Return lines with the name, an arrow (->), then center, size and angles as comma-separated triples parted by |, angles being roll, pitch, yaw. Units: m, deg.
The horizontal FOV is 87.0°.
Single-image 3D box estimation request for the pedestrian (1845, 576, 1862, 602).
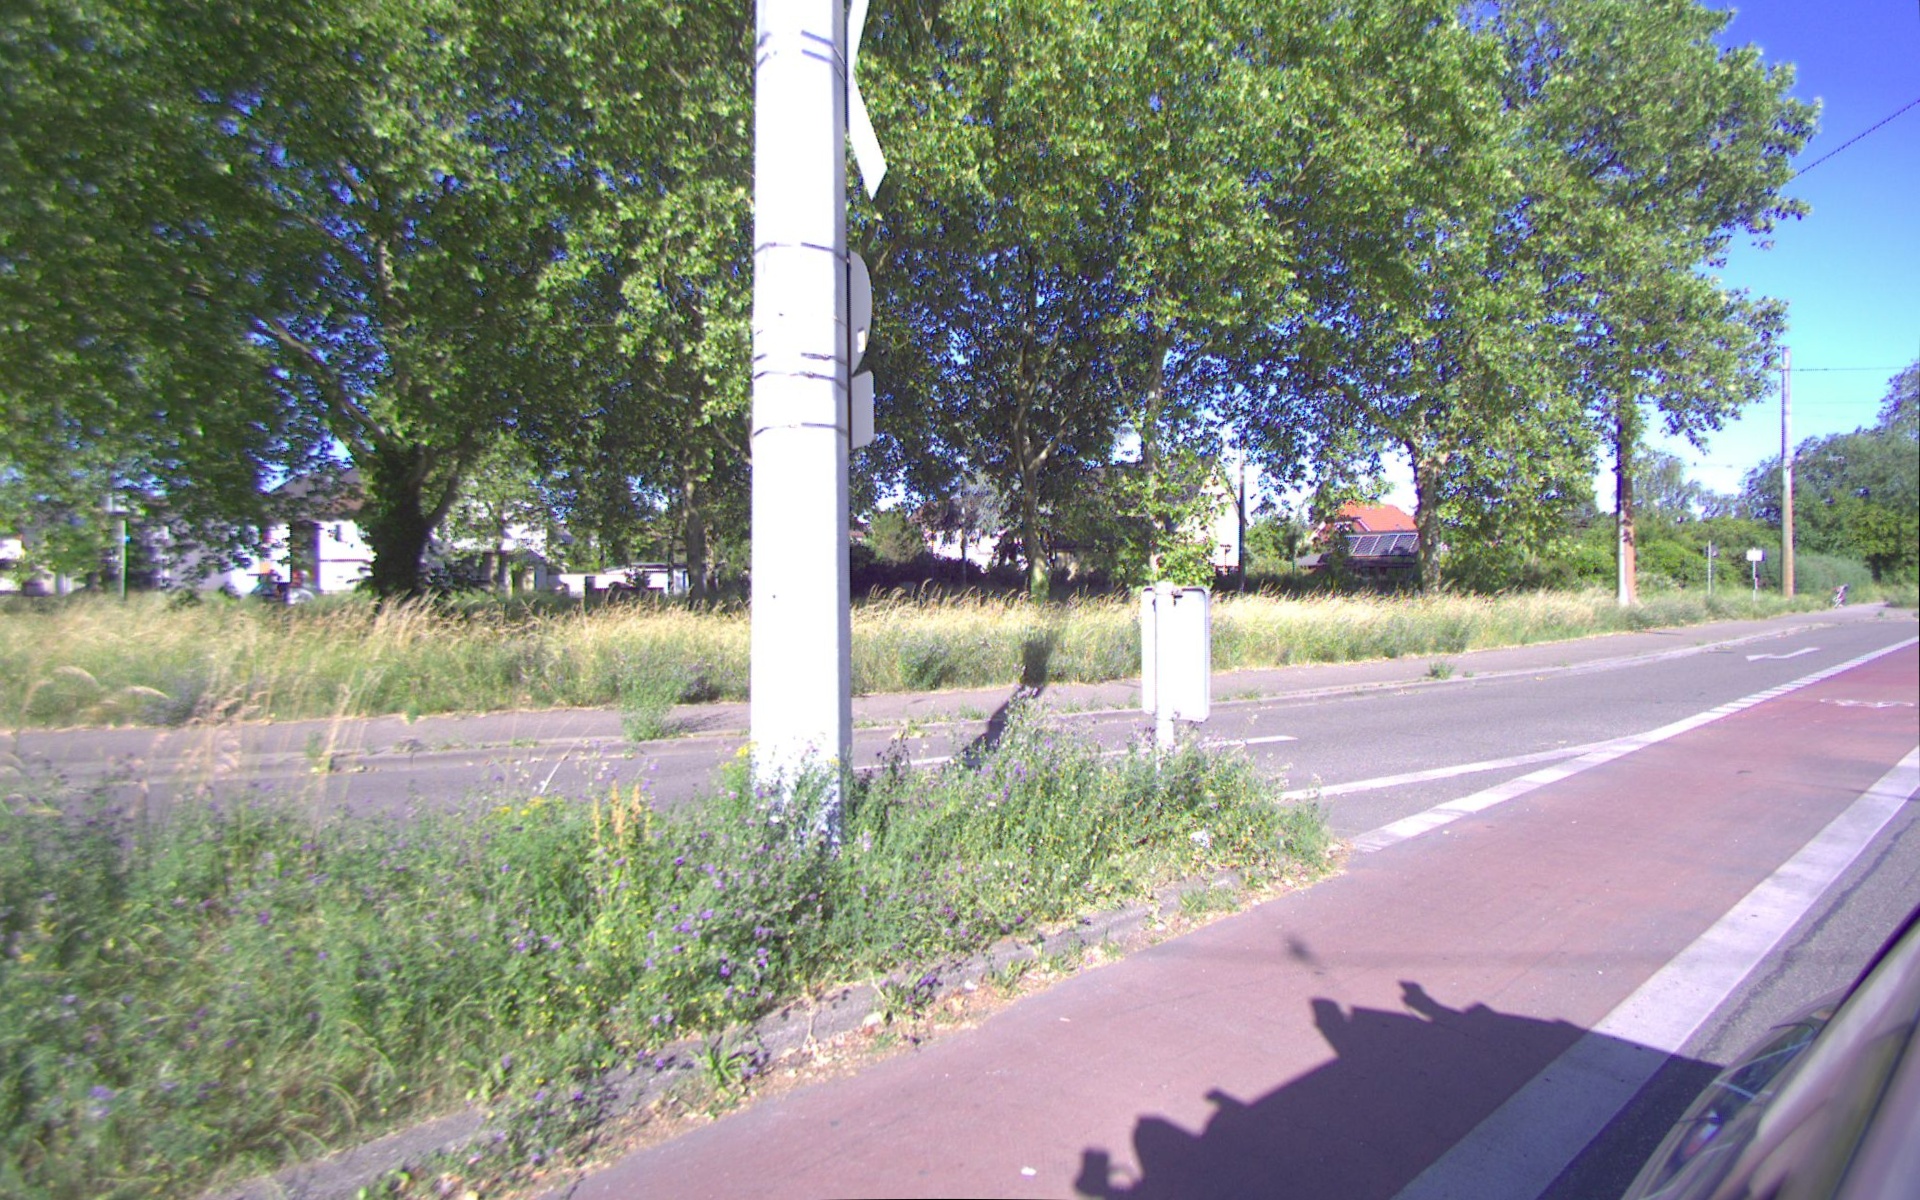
pedestrian -> 37.280, -0.461, 42.222 | 0.446, 1.046, 0.482 | -1, 1, -40
